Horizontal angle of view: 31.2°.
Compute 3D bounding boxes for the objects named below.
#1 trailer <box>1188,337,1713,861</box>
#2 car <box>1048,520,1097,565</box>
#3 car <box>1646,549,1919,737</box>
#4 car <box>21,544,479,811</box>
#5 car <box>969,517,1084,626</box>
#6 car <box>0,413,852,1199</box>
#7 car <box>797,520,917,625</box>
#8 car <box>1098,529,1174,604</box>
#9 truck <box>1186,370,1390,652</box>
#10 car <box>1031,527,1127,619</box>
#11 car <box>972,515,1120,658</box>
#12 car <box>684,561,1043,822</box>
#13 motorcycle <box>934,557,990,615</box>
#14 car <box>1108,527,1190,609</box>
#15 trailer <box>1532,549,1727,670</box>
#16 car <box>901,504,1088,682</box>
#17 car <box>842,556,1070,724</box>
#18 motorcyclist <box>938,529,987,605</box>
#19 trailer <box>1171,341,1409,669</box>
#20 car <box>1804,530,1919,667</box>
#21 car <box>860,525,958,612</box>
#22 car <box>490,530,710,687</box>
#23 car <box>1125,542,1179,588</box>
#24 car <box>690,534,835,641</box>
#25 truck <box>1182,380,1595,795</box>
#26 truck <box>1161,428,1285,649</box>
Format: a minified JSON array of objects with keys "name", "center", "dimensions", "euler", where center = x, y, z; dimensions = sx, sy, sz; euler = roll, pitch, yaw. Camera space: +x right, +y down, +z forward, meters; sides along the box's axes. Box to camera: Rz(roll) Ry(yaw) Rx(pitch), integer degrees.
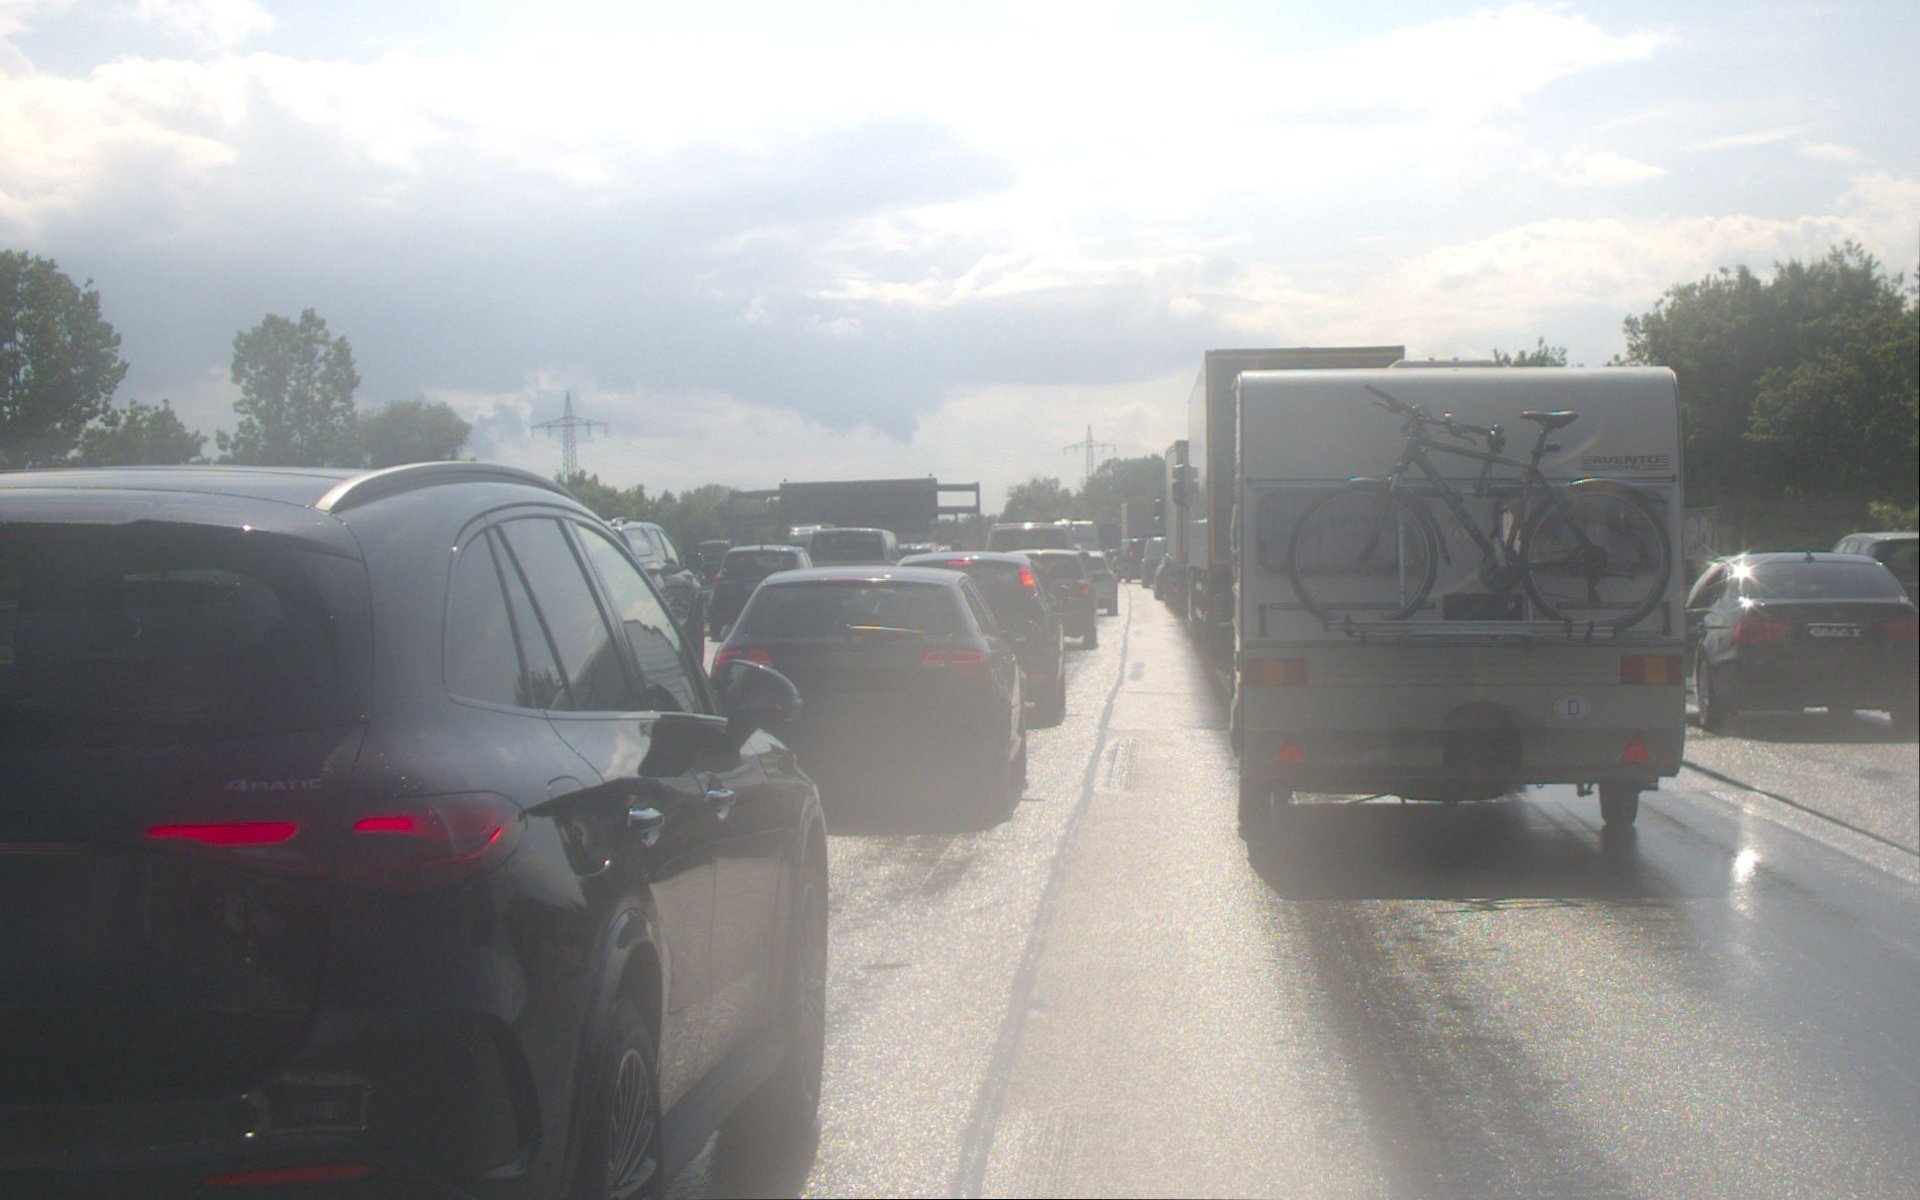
[{"name":"trailer","center":[2.538,-0.048,19.574],"dimensions":[2.374,2.475,6.522],"euler":[0,1,3]},{"name":"car","center":[4.552,-2.324,139.398],"dimensions":[1.876,1.754,4.000],"euler":[0,1,0]},{"name":"car","center":[6.797,0.301,28.229],"dimensions":[1.740,1.415,3.835],"euler":[-1,1,3]},{"name":"car","center":[-4.370,0.412,21.818],"dimensions":[1.757,1.511,4.208],"euler":[-1,1,4]},{"name":"car","center":[1.295,-0.553,65.552],"dimensions":[1.994,2.007,4.000],"euler":[0,1,4]},{"name":"car","center":[-1.440,0.551,7.000],"dimensions":[1.994,1.656,4.405],"euler":[0,1,4]},{"name":"car","center":[-2.091,-0.588,71.127],"dimensions":[1.994,2.007,4.000],"euler":[3,1,4]},{"name":"car","center":[5.067,-0.977,98.476],"dimensions":[1.994,2.007,4.000],"euler":[3,1,4]},{"name":"truck","center":[5.088,-1.352,53.439],"dimensions":[2.996,4.152,5.239],"euler":[0,1,5]},{"name":"car","center":[2.709,-0.619,77.507],"dimensions":[1.994,2.007,4.000],"euler":[1,1,4]},{"name":"car","center":[1.360,-0.225,52.895],"dimensions":[1.994,2.007,4.000],"euler":[3,1,4]},{"name":"car","center":[-0.478,0.479,20.627],"dimensions":[1.757,1.382,3.944],"euler":[-1,1,4]},{"name":"motorcycle","center":[0.055,-0.321,77.761],"dimensions":[1.074,1.267,2.690],"euler":[0,1,4]},{"name":"car","center":[4.835,-0.825,87.645],"dimensions":[1.994,2.007,4.000],"euler":[1,1,4]},{"name":"trailer","center":[8.405,0.084,43.459],"dimensions":[1.855,1.437,4.147],"euler":[-1,1,3]},{"name":"car","center":[0.462,-0.112,40.981],"dimensions":[1.994,2.007,4.000],"euler":[0,1,4]},{"name":"car","center":[0.025,0.313,30.926],"dimensions":[1.806,1.402,4.000],"euler":[0,1,3]},{"name":"motorcyclist","center":[0.062,-0.756,77.817],"dimensions":[1.064,1.712,0.785],"euler":[0,0,4]},{"name":"trailer","center":[4.582,-1.268,47.945],"dimensions":[3.007,4.152,8.534],"euler":[0,1,5]},{"name":"car","center":[11.775,-0.057,42.634],"dimensions":[1.788,1.607,4.384],"euler":[-1,1,4]},{"name":"car","center":[-1.184,-0.758,82.331],"dimensions":[1.994,2.007,4.000],"euler":[1,1,4]},{"name":"car","center":[-4.088,0.066,39.666],"dimensions":[1.993,1.714,4.000],"euler":[0,1,2]},{"name":"car","center":[7.477,-1.364,134.176],"dimensions":[1.876,1.754,4.000],"euler":[0,1,0]},{"name":"car","center":[-3.363,-0.240,59.284],"dimensions":[1.994,1.766,4.000],"euler":[0,1,4]},{"name":"truck","center":[2.737,-0.112,23.378],"dimensions":[2.374,2.468,5.755],"euler":[0,1,3]},{"name":"truck","center":[5.948,-1.390,78.708],"dimensions":[2.502,4.813,7.543],"euler":[0,1,2]}]
